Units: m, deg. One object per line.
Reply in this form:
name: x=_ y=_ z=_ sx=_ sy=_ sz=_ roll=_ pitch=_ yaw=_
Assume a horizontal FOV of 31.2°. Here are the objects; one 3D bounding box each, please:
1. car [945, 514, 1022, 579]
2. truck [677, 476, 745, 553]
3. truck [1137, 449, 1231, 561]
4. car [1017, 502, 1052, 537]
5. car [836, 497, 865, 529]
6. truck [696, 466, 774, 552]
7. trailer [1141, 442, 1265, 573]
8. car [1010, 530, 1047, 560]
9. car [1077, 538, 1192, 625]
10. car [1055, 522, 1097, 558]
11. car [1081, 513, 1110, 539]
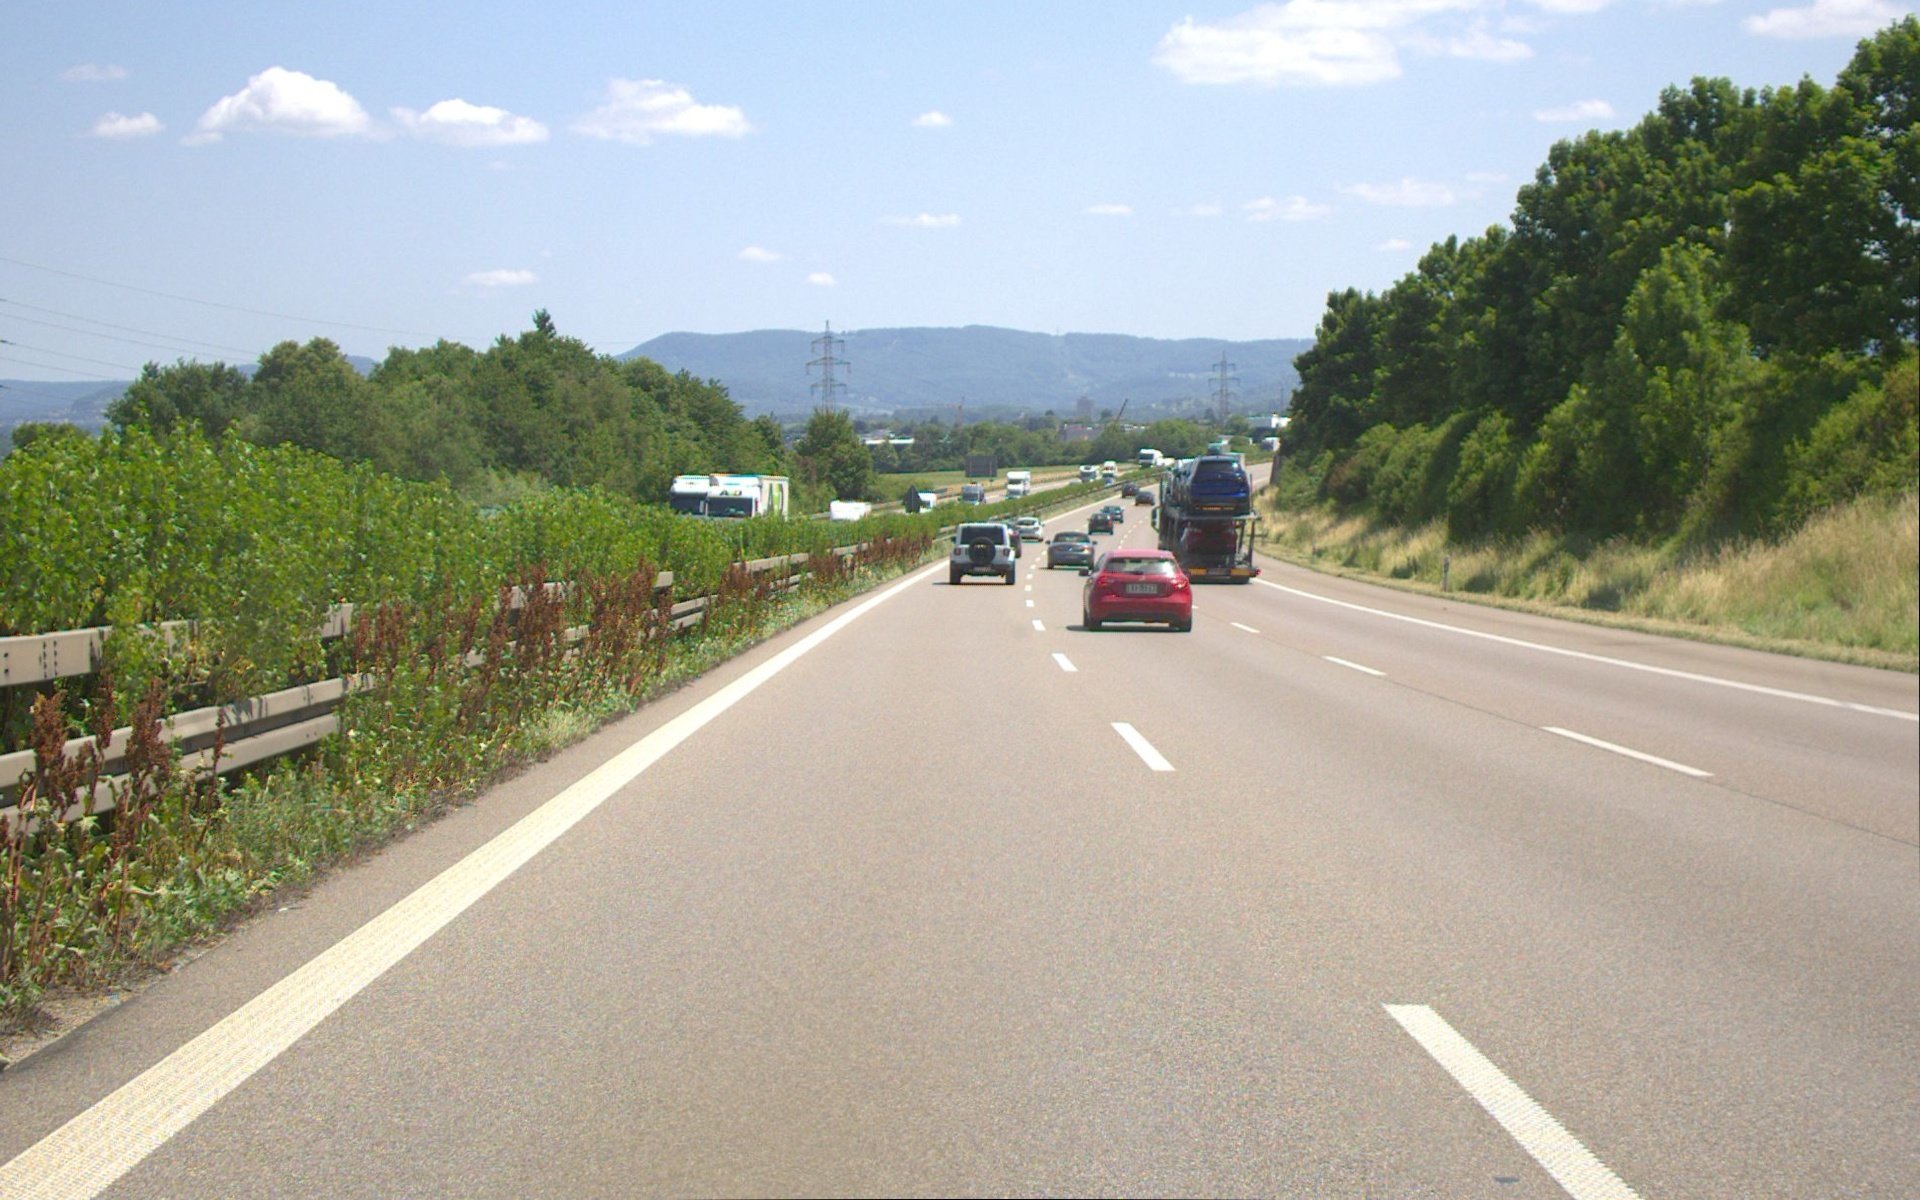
car: x=0.694 y=-1.626 z=103.536 sx=2.083 sy=1.823 sz=4.754 roll=1 pitch=2 yaw=-2
truck: x=-13.545 y=-4.671 z=187.283 sx=3.011 sy=4.095 sz=5.621 roll=1 pitch=2 yaw=3
truck: x=7.861 y=-3.379 z=121.455 sx=2.754 sy=3.839 sz=6.645 roll=1 pitch=2 yaw=-1
car: x=4.377 y=-4.770 z=202.345 sx=1.698 sy=2.006 sz=3.821 roll=1 pitch=2 yaw=7
car: x=-7.222 y=-5.770 z=227.388 sx=1.794 sy=2.006 sz=4.001 roll=1 pitch=2 yaw=0
truck: x=-10.925 y=-4.433 z=167.010 sx=3.176 sy=4.095 sz=5.226 roll=1 pitch=2 yaw=3
trailer: x=7.902 y=-3.123 z=113.814 sx=2.855 sy=3.979 sz=15.398 roll=1 pitch=2 yaw=0
car: x=3.088 y=-2.485 z=155.598 sx=1.455 sy=1.263 sz=3.337 roll=1 pitch=2 yaw=5
car: x=3.026 y=-0.348 z=60.303 sx=1.686 sy=1.374 sz=3.949 roll=1 pitch=2 yaw=-2
car: x=4.410 y=-2.298 z=130.865 sx=1.452 sy=1.263 sz=3.539 roll=1 pitch=2 yaw=-1
car: x=9.028 y=-4.918 z=228.752 sx=1.636 sy=1.699 sz=3.400 roll=1 pitch=2 yaw=7
